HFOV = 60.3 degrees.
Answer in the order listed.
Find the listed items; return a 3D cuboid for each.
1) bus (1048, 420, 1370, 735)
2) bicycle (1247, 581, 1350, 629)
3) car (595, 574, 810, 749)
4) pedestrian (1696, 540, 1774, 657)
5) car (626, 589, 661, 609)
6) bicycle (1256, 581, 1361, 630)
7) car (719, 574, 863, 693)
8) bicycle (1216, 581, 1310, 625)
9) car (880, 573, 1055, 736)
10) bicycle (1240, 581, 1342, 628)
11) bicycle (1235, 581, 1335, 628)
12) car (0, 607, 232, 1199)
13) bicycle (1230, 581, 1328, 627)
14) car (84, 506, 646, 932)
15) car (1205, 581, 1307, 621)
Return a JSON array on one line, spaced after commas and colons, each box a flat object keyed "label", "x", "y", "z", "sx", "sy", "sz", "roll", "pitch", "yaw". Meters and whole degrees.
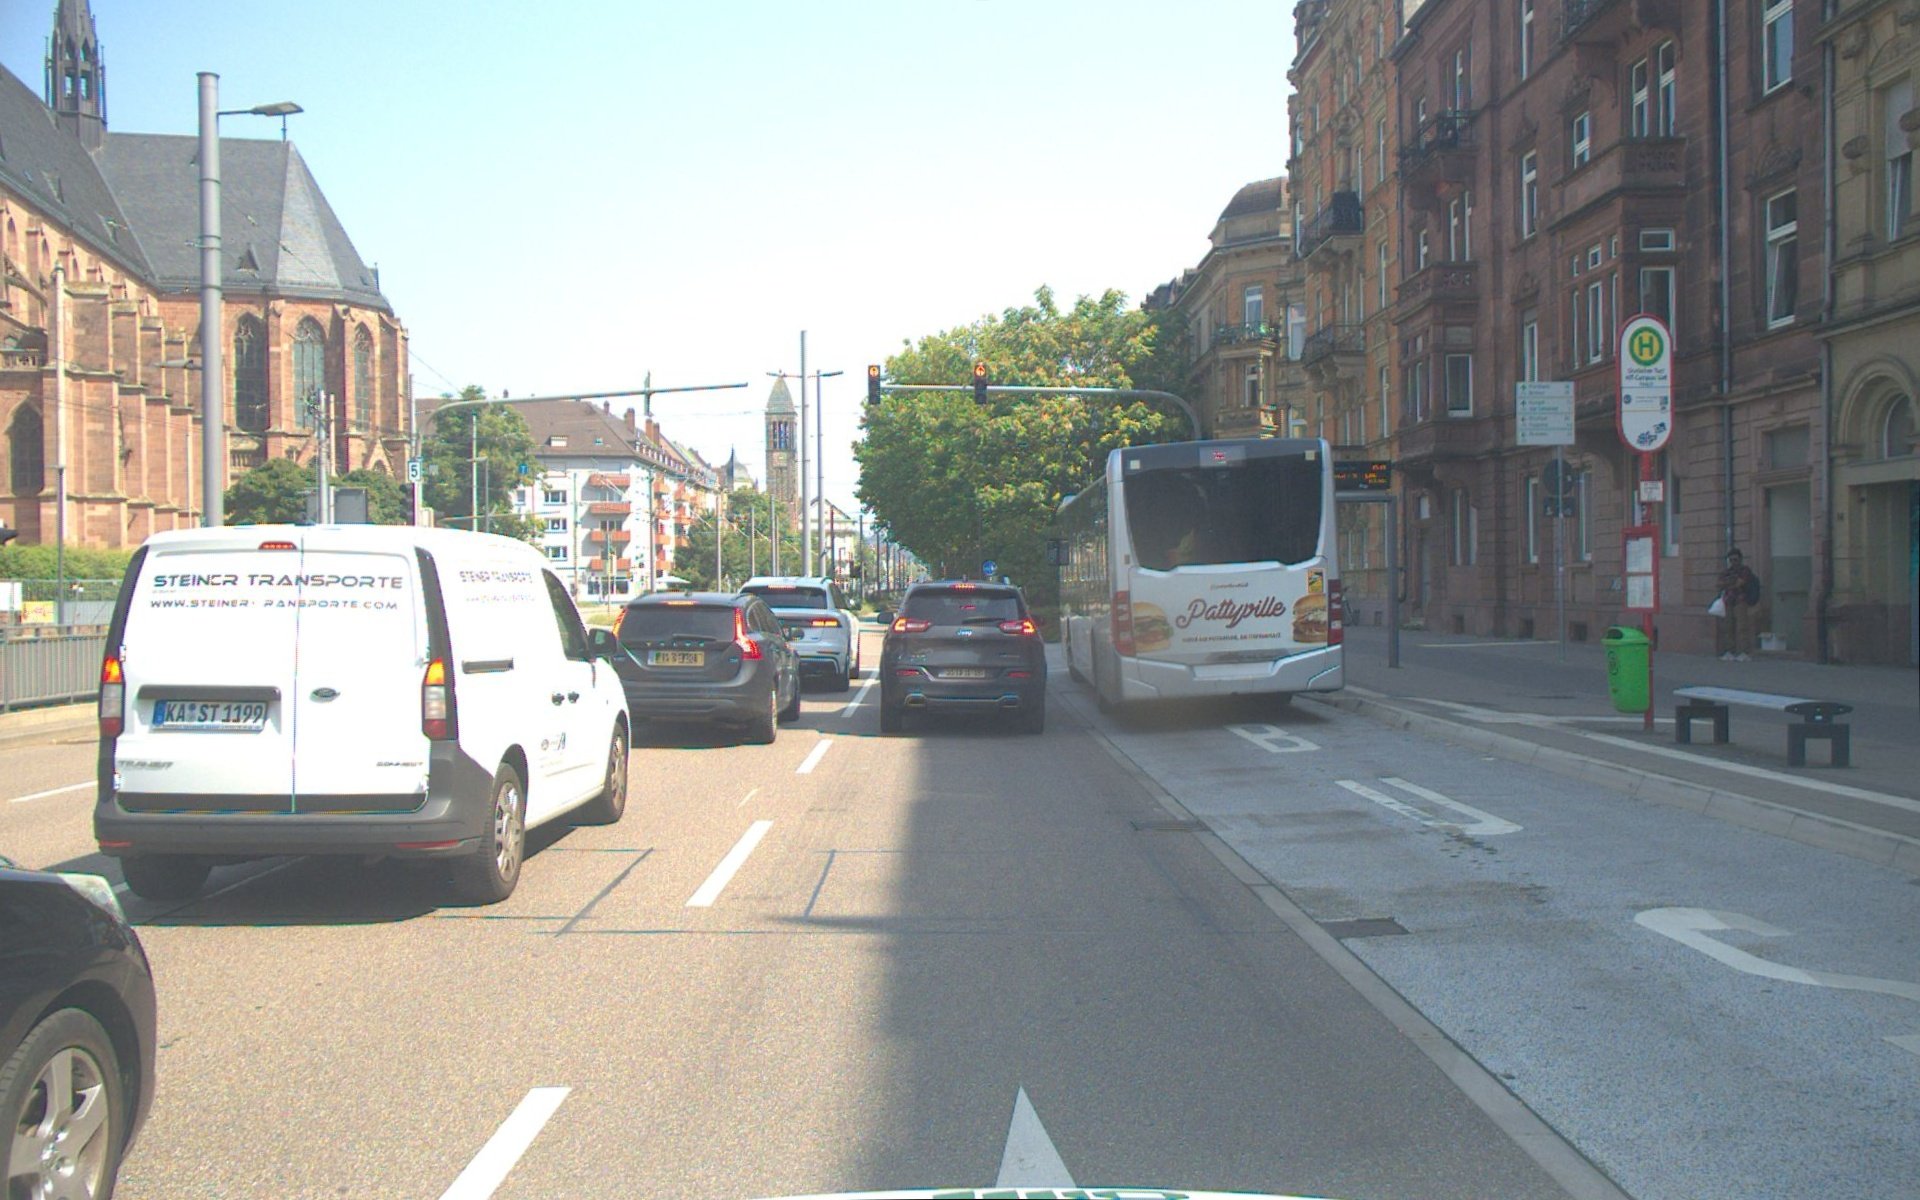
[{"label": "bus", "x": 2.943, "y": -0.267, "z": 23.397, "sx": 2.687, "sy": 3.161, "sz": 11.956, "roll": -3, "pitch": 0, "yaw": 0}, {"label": "bicycle", "x": 10.304, "y": 0.142, "z": 50.335, "sx": 2.933, "sy": 1.395, "sz": 0.871, "roll": -1, "pitch": 0, "yaw": -2}, {"label": "car", "x": -2.633, "y": 0.567, "z": 17.820, "sx": 1.712, "sy": 1.642, "sz": 4.307, "roll": 0, "pitch": 0, "yaw": -1}, {"label": "pedestrian", "x": 12.283, "y": -0.028, "z": 26.217, "sx": 0.858, "sy": 1.809, "sz": 0.736, "roll": -1, "pitch": 0, "yaw": -29}, {"label": "car", "x": -24.986, "y": -0.091, "z": 130.819, "sx": 1.710, "sy": 1.460, "sz": 4.574, "roll": -2, "pitch": 1, "yaw": 2}, {"label": "bicycle", "x": 10.416, "y": 0.164, "z": 49.431, "sx": 2.933, "sy": 1.395, "sz": 0.871, "roll": -1, "pitch": 0, "yaw": -2}, {"label": "car", "x": -2.529, "y": 0.447, "z": 25.633, "sx": 1.864, "sy": 1.680, "sz": 4.307, "roll": 0, "pitch": 1, "yaw": -1}, {"label": "bicycle", "x": 10.106, "y": 0.094, "z": 55.239, "sx": 2.943, "sy": 1.397, "sz": 0.947, "roll": -1, "pitch": 0, "yaw": -2}, {"label": "car", "x": 0.077, "y": 0.546, "z": 19.296, "sx": 1.795, "sy": 1.680, "sz": 4.308, "roll": 1, "pitch": 0, "yaw": 0}, {"label": "bicycle", "x": 10.245, "y": 0.136, "z": 51.246, "sx": 2.933, "sy": 1.395, "sz": 0.871, "roll": -1, "pitch": 0, "yaw": -2}, {"label": "bicycle", "x": 10.247, "y": 0.144, "z": 52.194, "sx": 2.933, "sy": 1.395, "sz": 0.871, "roll": -1, "pitch": 0, "yaw": -2}, {"label": "car", "x": -2.557, "y": 0.747, "z": 2.150, "sx": 1.654, "sy": 1.438, "sz": 3.800, "roll": 0, "pitch": 0, "yaw": -2}, {"label": "bicycle", "x": 10.225, "y": 0.115, "z": 53.137, "sx": 2.943, "sy": 1.397, "sz": 0.947, "roll": -1, "pitch": 0, "yaw": -2}, {"label": "car", "x": -2.994, "y": 0.507, "z": 9.334, "sx": 1.712, "sy": 1.852, "sz": 4.238, "roll": 0, "pitch": 0, "yaw": -1}, {"label": "car", "x": 12.316, "y": 0.029, "z": 68.957, "sx": 3.859, "sy": 1.547, "sz": 1.679, "roll": -1, "pitch": 0, "yaw": -9}]
